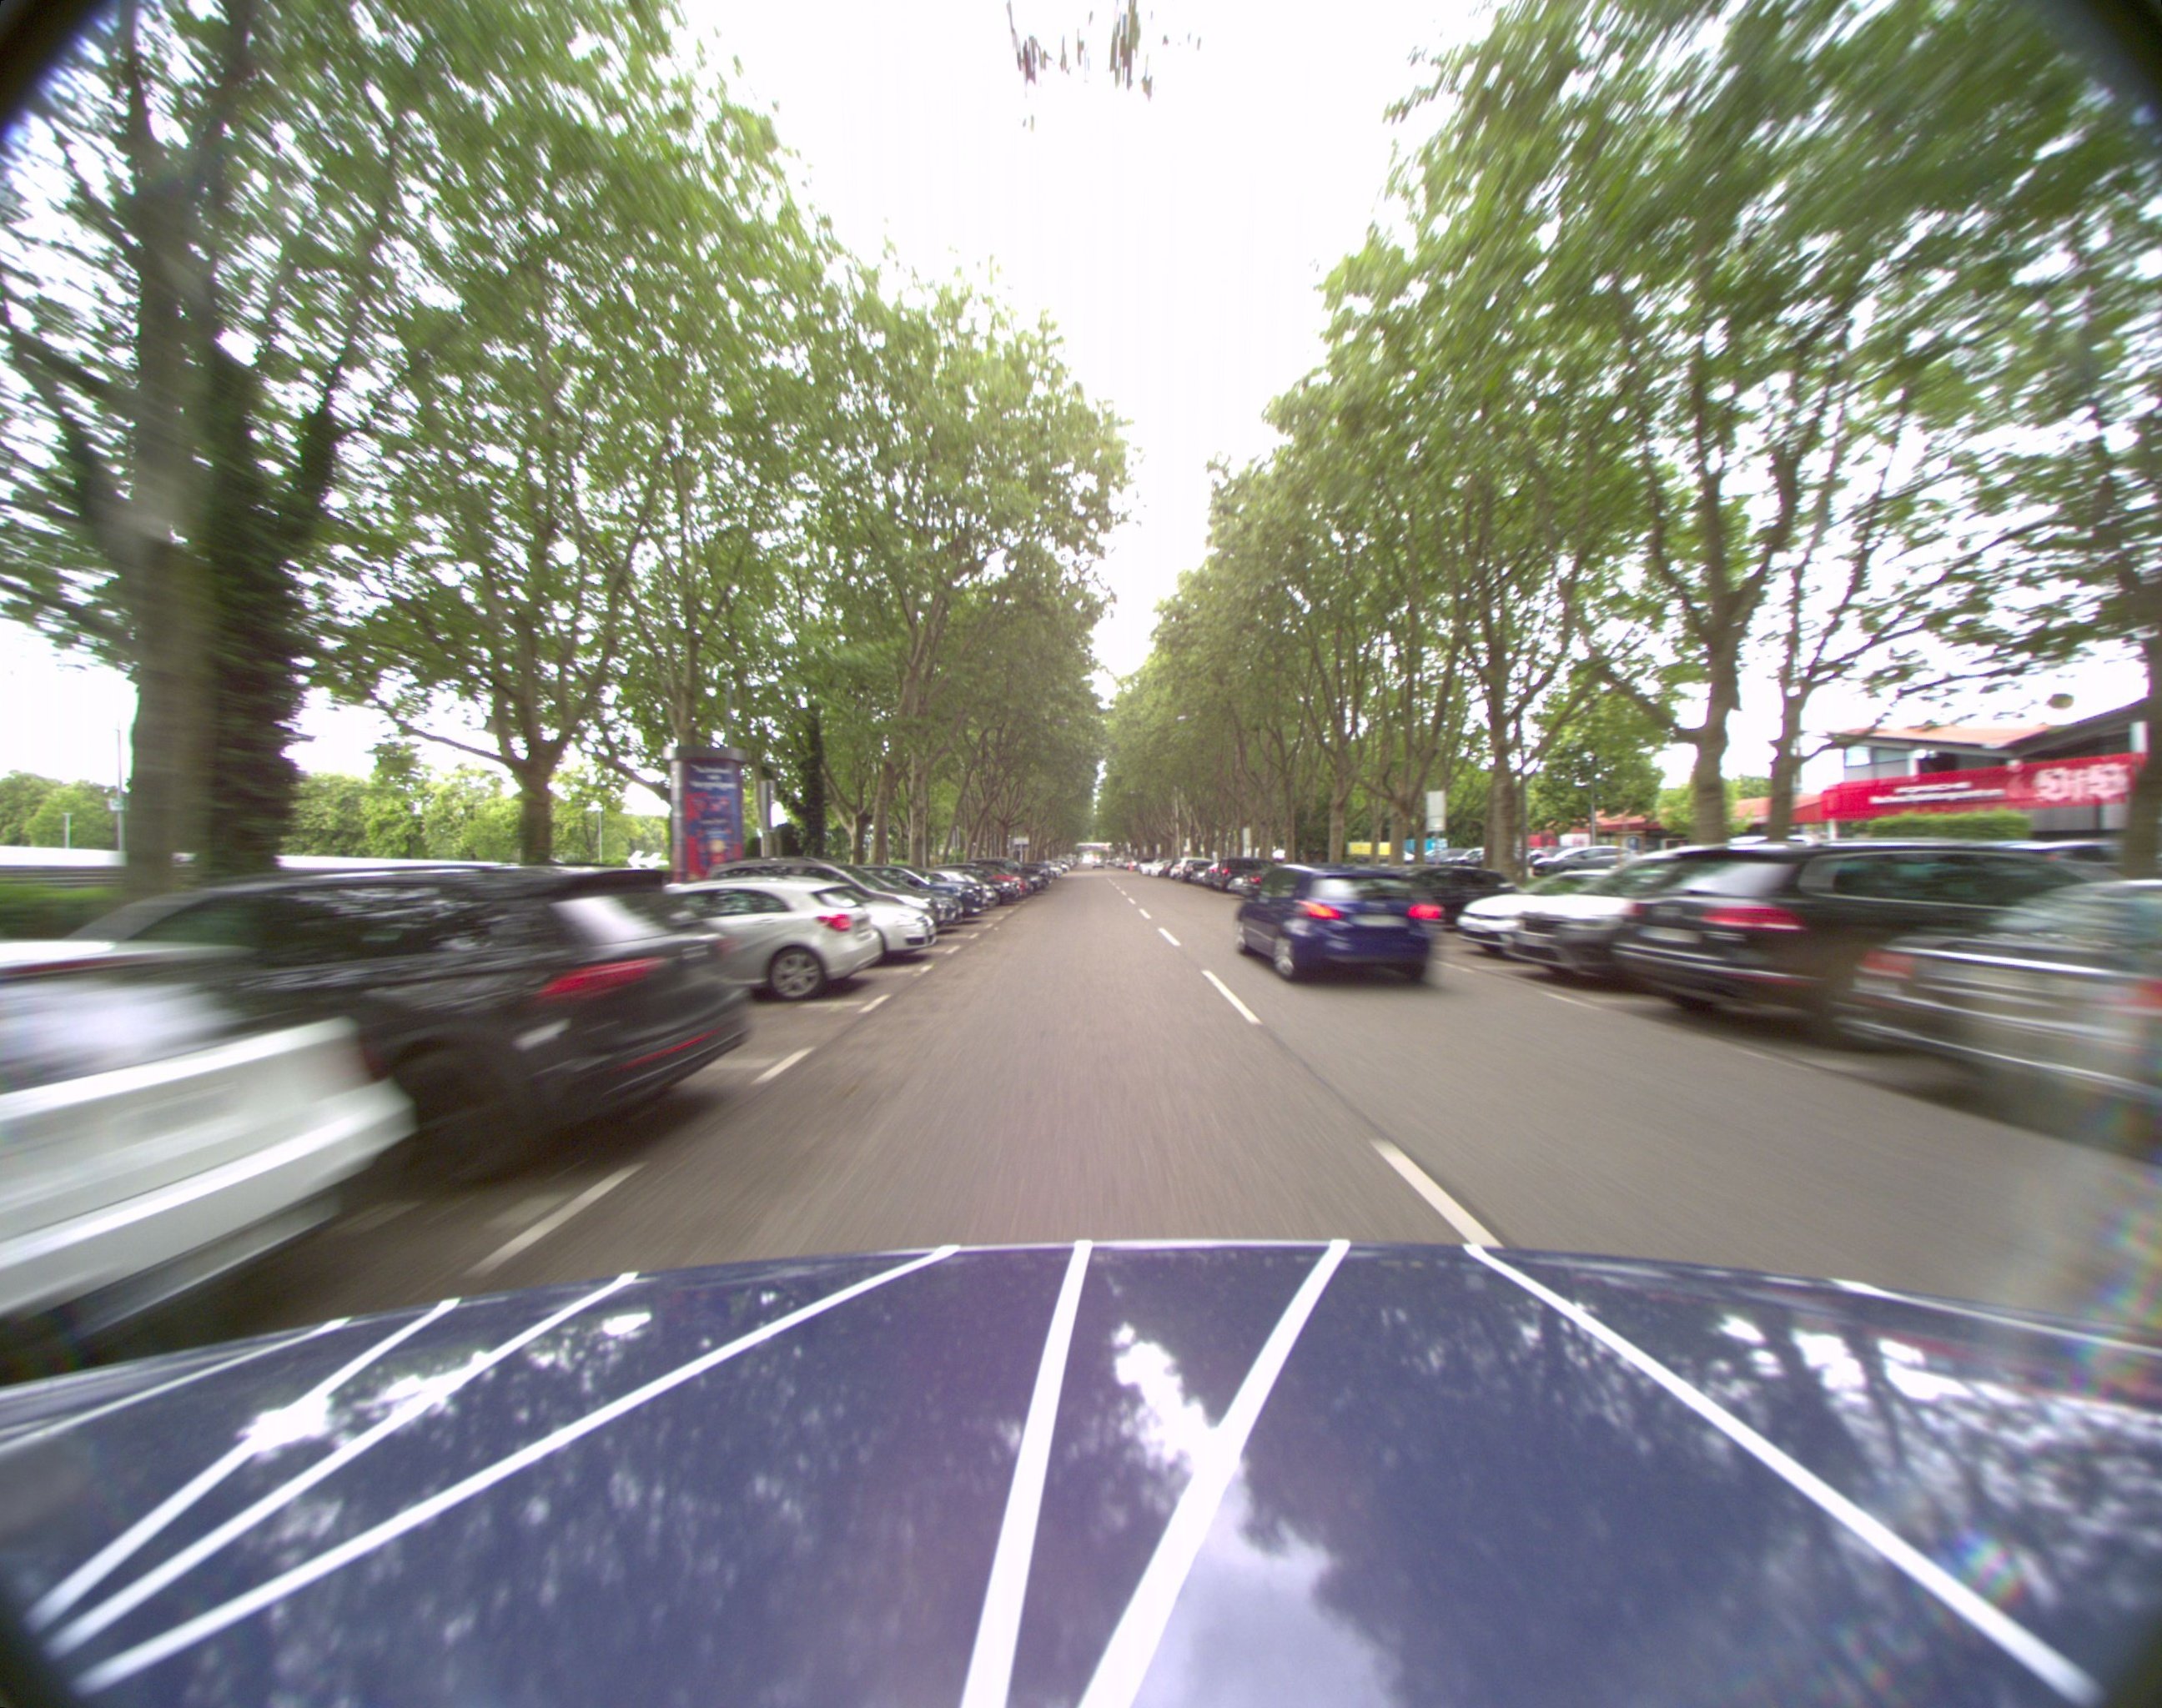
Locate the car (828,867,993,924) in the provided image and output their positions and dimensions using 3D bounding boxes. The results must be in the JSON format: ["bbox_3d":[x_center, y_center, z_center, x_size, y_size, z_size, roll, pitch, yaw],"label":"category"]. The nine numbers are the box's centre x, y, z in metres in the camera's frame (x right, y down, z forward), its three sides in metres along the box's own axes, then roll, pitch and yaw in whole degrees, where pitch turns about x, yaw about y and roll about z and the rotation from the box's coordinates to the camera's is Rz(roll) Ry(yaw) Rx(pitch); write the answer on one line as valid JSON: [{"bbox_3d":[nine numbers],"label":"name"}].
[{"bbox_3d":[-4.925,1.196,22.410,4.357,1.405,1.926,-2,0,1],"label":"car"}]

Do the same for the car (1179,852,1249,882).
[{"bbox_3d":[8.149,0.803,46.833,3.996,1.672,1.856,-2,1,2],"label":"car"}]

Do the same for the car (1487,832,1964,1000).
[{"bbox_3d":[7.616,0.696,9.288,4.329,1.799,1.867,1,0,-3],"label":"car"}]

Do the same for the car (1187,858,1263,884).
[{"bbox_3d":[8.349,0.980,44.251,3.997,1.361,1.843,-2,1,-1],"label":"car"}]

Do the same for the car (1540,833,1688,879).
[{"bbox_3d":[23.098,0.081,33.058,4.954,1.786,2.182,-2,1,-2],"label":"car"}]

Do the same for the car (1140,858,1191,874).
[{"bbox_3d":[7.634,1.110,69.123,4.419,1.416,1.776,1,0,-1],"label":"car"}]

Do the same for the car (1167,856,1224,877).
[{"bbox_3d":[8.507,0.919,56.865,3.996,1.445,1.856,-2,1,2],"label":"car"}]

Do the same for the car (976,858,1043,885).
[{"bbox_3d":[-4.629,1.135,49.828,4.207,1.509,1.785,-2,0,-2],"label":"car"}]

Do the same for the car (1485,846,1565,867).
[{"bbox_3d":[34.785,0.197,59.637,4.954,1.512,2.183,-2,1,0],"label":"car"}]

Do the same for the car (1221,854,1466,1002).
[{"bbox_3d":[3.237,0.808,10.295,1.847,1.501,4.014,-3,1,-1],"label":"car"}]

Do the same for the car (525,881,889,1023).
[{"bbox_3d":[-4.444,1.137,9.465,3.649,1.418,1.665,-2,0,-2],"label":"car"}]

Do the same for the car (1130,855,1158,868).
[{"bbox_3d":[8.197,0.953,99.179,3.565,1.569,1.847,1,0,3],"label":"car"}]

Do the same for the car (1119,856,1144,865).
[{"bbox_3d":[8.224,1.062,124.053,4.039,1.518,1.800,1,-1,3],"label":"car"}]

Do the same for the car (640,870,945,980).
[{"bbox_3d":[-4.465,1.083,12.188,4.159,1.449,1.727,-2,0,1],"label":"car"}]

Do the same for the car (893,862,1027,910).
[{"bbox_3d":[-4.275,1.110,27.292,4.356,1.493,1.926,-2,0,4],"label":"car"}]

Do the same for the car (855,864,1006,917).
[{"bbox_3d":[-4.839,1.156,24.732,4.355,1.493,1.927,-2,0,7],"label":"car"}]

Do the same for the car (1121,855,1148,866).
[{"bbox_3d":[7.836,0.977,111.652,3.847,1.560,1.847,1,0,3],"label":"car"}]

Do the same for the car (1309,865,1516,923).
[{"bbox_3d":[8.325,0.984,19.378,4.474,1.361,1.880,1,0,0],"label":"car"}]

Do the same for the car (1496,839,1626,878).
[{"bbox_3d":[23.190,0.217,36.838,4.954,1.786,2.183,-1,0,-2],"label":"car"}]

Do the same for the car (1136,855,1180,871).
[{"bbox_3d":[8.012,0.935,79.209,4.419,1.616,2.047,1,0,-1],"label":"car"}]

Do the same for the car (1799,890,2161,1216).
[{"bbox_3d":[7.183,1.034,4.340,4.138,1.443,2.014,2,0,3],"label":"car"}]

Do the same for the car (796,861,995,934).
[{"bbox_3d":[-4.693,1.081,19.665,4.602,1.629,1.873,-2,0,3],"label":"car"}]

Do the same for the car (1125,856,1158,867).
[{"bbox_3d":[8.533,1.038,106.909,4.575,1.425,2.090,1,0,3],"label":"car"}]

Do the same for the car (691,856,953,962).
[{"bbox_3d":[-4.833,1.009,14.670,4.357,1.735,1.837,-2,0,-1],"label":"car"}]

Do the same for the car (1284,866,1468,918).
[{"bbox_3d":[8.251,1.038,21.574,4.473,1.340,1.902,1,0,2],"label":"car"}]

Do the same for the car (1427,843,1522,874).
[{"bbox_3d":[23.237,0.255,45.015,4.564,1.710,2.000,1,0,-1],"label":"car"}]

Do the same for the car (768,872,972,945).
[{"bbox_3d":[-4.637,1.195,17.094,4.050,1.372,1.744,-2,0,1],"label":"car"}]

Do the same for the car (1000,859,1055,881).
[{"bbox_3d":[-4.070,1.211,57.380,4.027,1.439,1.913,-2,0,-5],"label":"car"}]

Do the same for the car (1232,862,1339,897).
[{"bbox_3d":[8.468,1.031,31.705,3.941,1.356,1.827,1,0,-1],"label":"car"}]

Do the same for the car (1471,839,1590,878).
[{"bbox_3d":[23.353,0.216,39.604,4.954,1.786,2.182,-2,1,-2],"label":"car"}]

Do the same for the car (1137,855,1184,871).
[{"bbox_3d":[7.964,0.892,76.232,4.420,1.616,2.047,1,0,-2],"label":"car"}]

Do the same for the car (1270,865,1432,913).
[{"bbox_3d":[8.476,1.076,24.124,4.475,1.358,1.859,1,0,-1],"label":"car"}]

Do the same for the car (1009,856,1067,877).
[{"bbox_3d":[-3.523,1.017,62.285,4.535,1.613,2.054,-2,0,1],"label":"car"}]

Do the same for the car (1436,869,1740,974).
[{"bbox_3d":[7.888,1.002,11.987,3.795,1.463,1.763,1,0,-10],"label":"car"}]

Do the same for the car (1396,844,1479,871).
[{"bbox_3d":[23.642,0.213,50.553,4.564,1.710,2.000,1,0,-1],"label":"car"}]

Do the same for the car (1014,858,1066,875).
[{"bbox_3d":[-3.760,1.110,69.803,4.598,1.409,1.719,-2,0,4],"label":"car"}]

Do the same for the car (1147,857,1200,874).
[{"bbox_3d":[8.073,1.001,66.659,4.418,1.409,1.784,1,0,2],"label":"car"}]

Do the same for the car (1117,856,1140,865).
[{"bbox_3d":[8.085,1.090,129.397,3.996,1.422,2.001,1,-1,3],"label":"car"}]

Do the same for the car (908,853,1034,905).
[{"bbox_3d":[-4.254,0.968,29.860,4.505,1.786,2.048,-2,0,5],"label":"car"}]

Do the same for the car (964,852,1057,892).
[{"bbox_3d":[-3.557,0.913,39.085,4.506,1.786,2.047,-2,0,0],"label":"car"}]

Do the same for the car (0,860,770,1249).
[{"bbox_3d":[-4.437,0.952,4.494,4.357,1.750,1.925,-1,0,-1],"label":"car"}]
